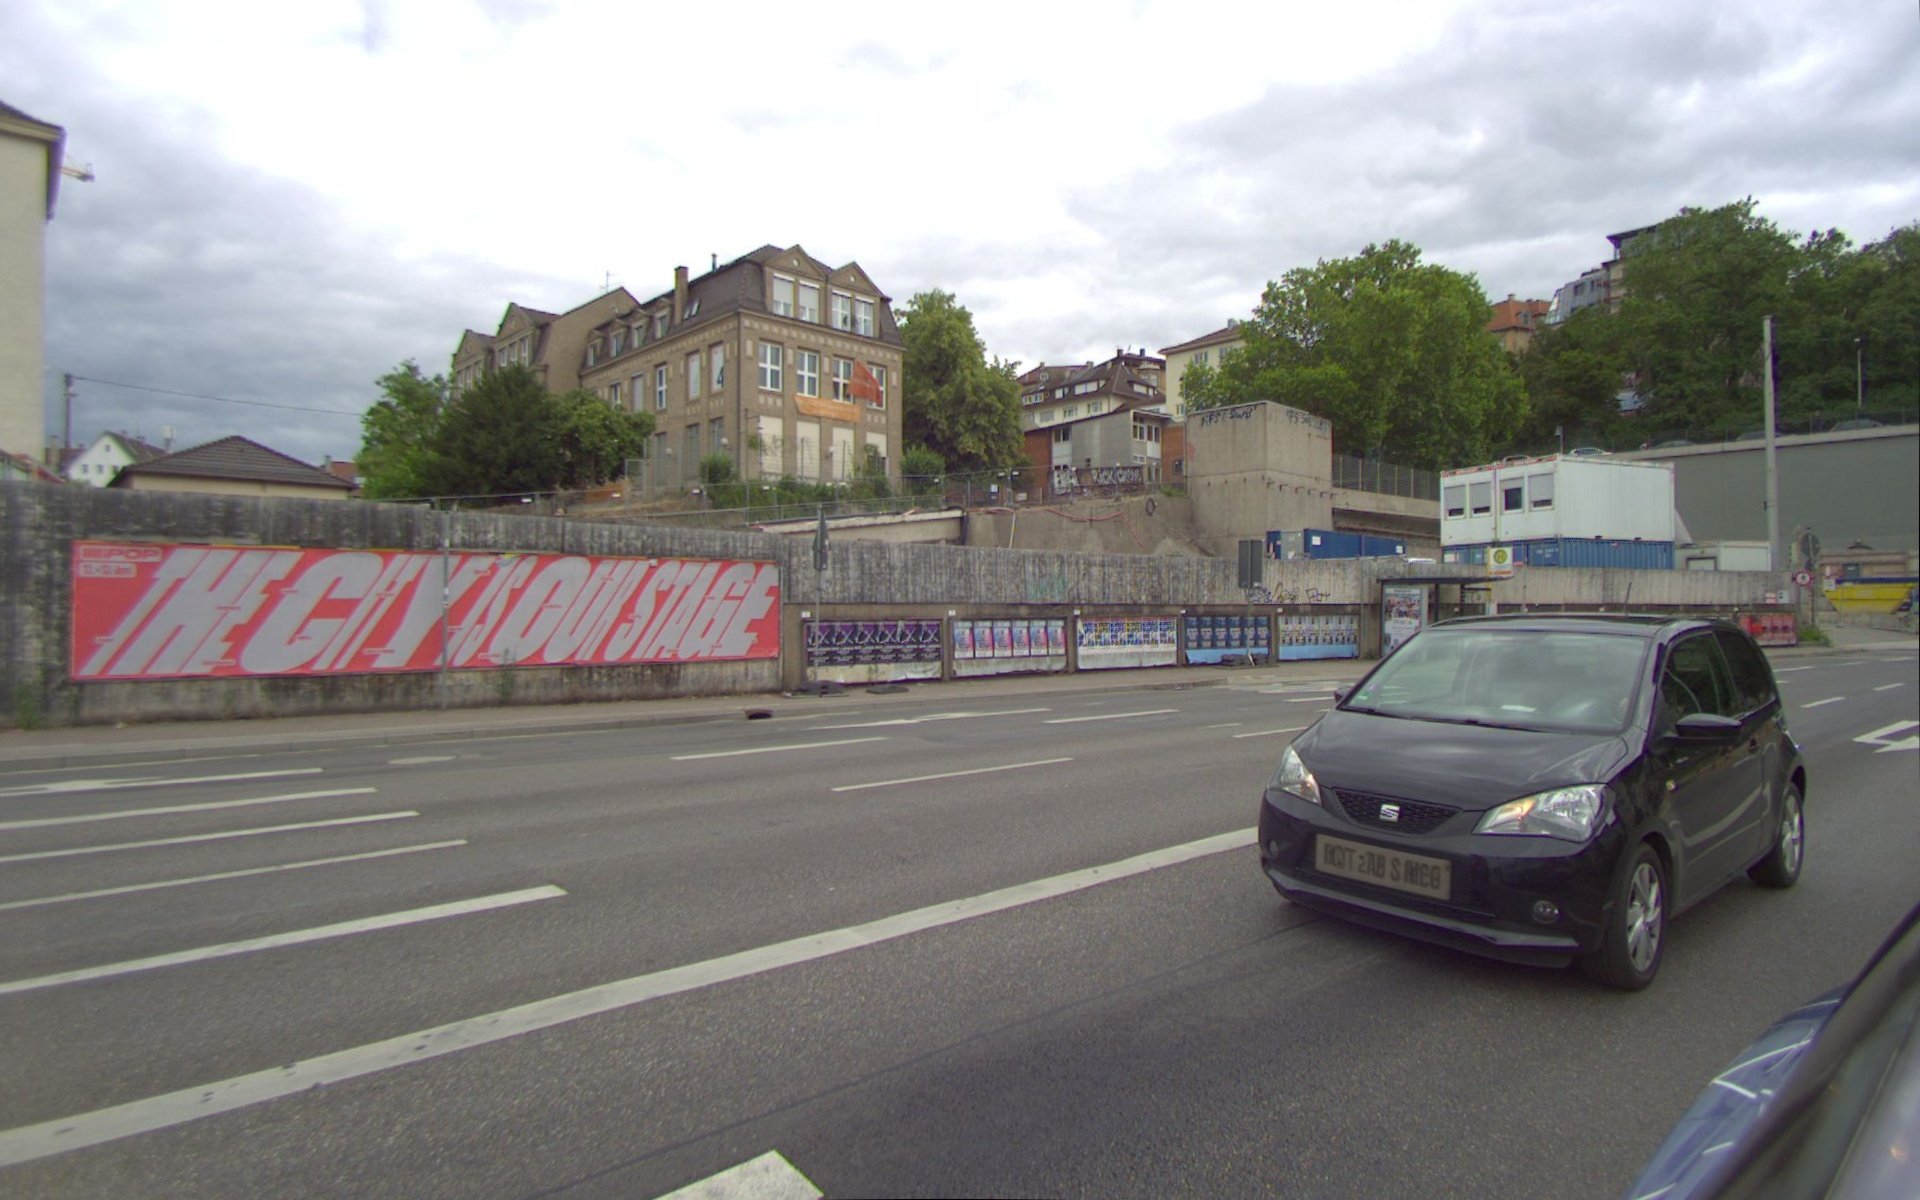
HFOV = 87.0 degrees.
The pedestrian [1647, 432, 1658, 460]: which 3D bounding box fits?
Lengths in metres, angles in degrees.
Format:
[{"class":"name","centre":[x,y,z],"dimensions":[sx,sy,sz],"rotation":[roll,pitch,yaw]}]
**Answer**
[{"class":"pedestrian","centre":[52.586,-11.687,76.878],"dimensions":[0.580,2.039,0.568],"rotation":[0,0,44]}]

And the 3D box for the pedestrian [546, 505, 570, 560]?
[{"class":"pedestrian","centre":[-15.156,-2.532,38.157],"dimensions":[0.644,2.039,0.656],"rotation":[0,0,44]}]

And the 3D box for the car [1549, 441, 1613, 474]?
[{"class":"car","centre":[49.235,-11.277,80.252],"dimensions":[3.986,2.039,1.969],"rotation":[0,0,43]}]

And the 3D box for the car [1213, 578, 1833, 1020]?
[{"class":"car","centre":[3.171,0.694,5.370],"dimensions":[3.813,1.515,1.666],"rotation":[0,-1,-41]}]

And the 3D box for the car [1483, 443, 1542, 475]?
[{"class":"car","centre":[45.842,-11.675,83.970],"dimensions":[3.986,2.039,1.969],"rotation":[0,0,43]}]

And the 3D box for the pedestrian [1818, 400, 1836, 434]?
[{"class":"pedestrian","centre":[57.729,-12.173,67.400],"dimensions":[0.849,2.039,0.891],"rotation":[-1,-1,44]}]
